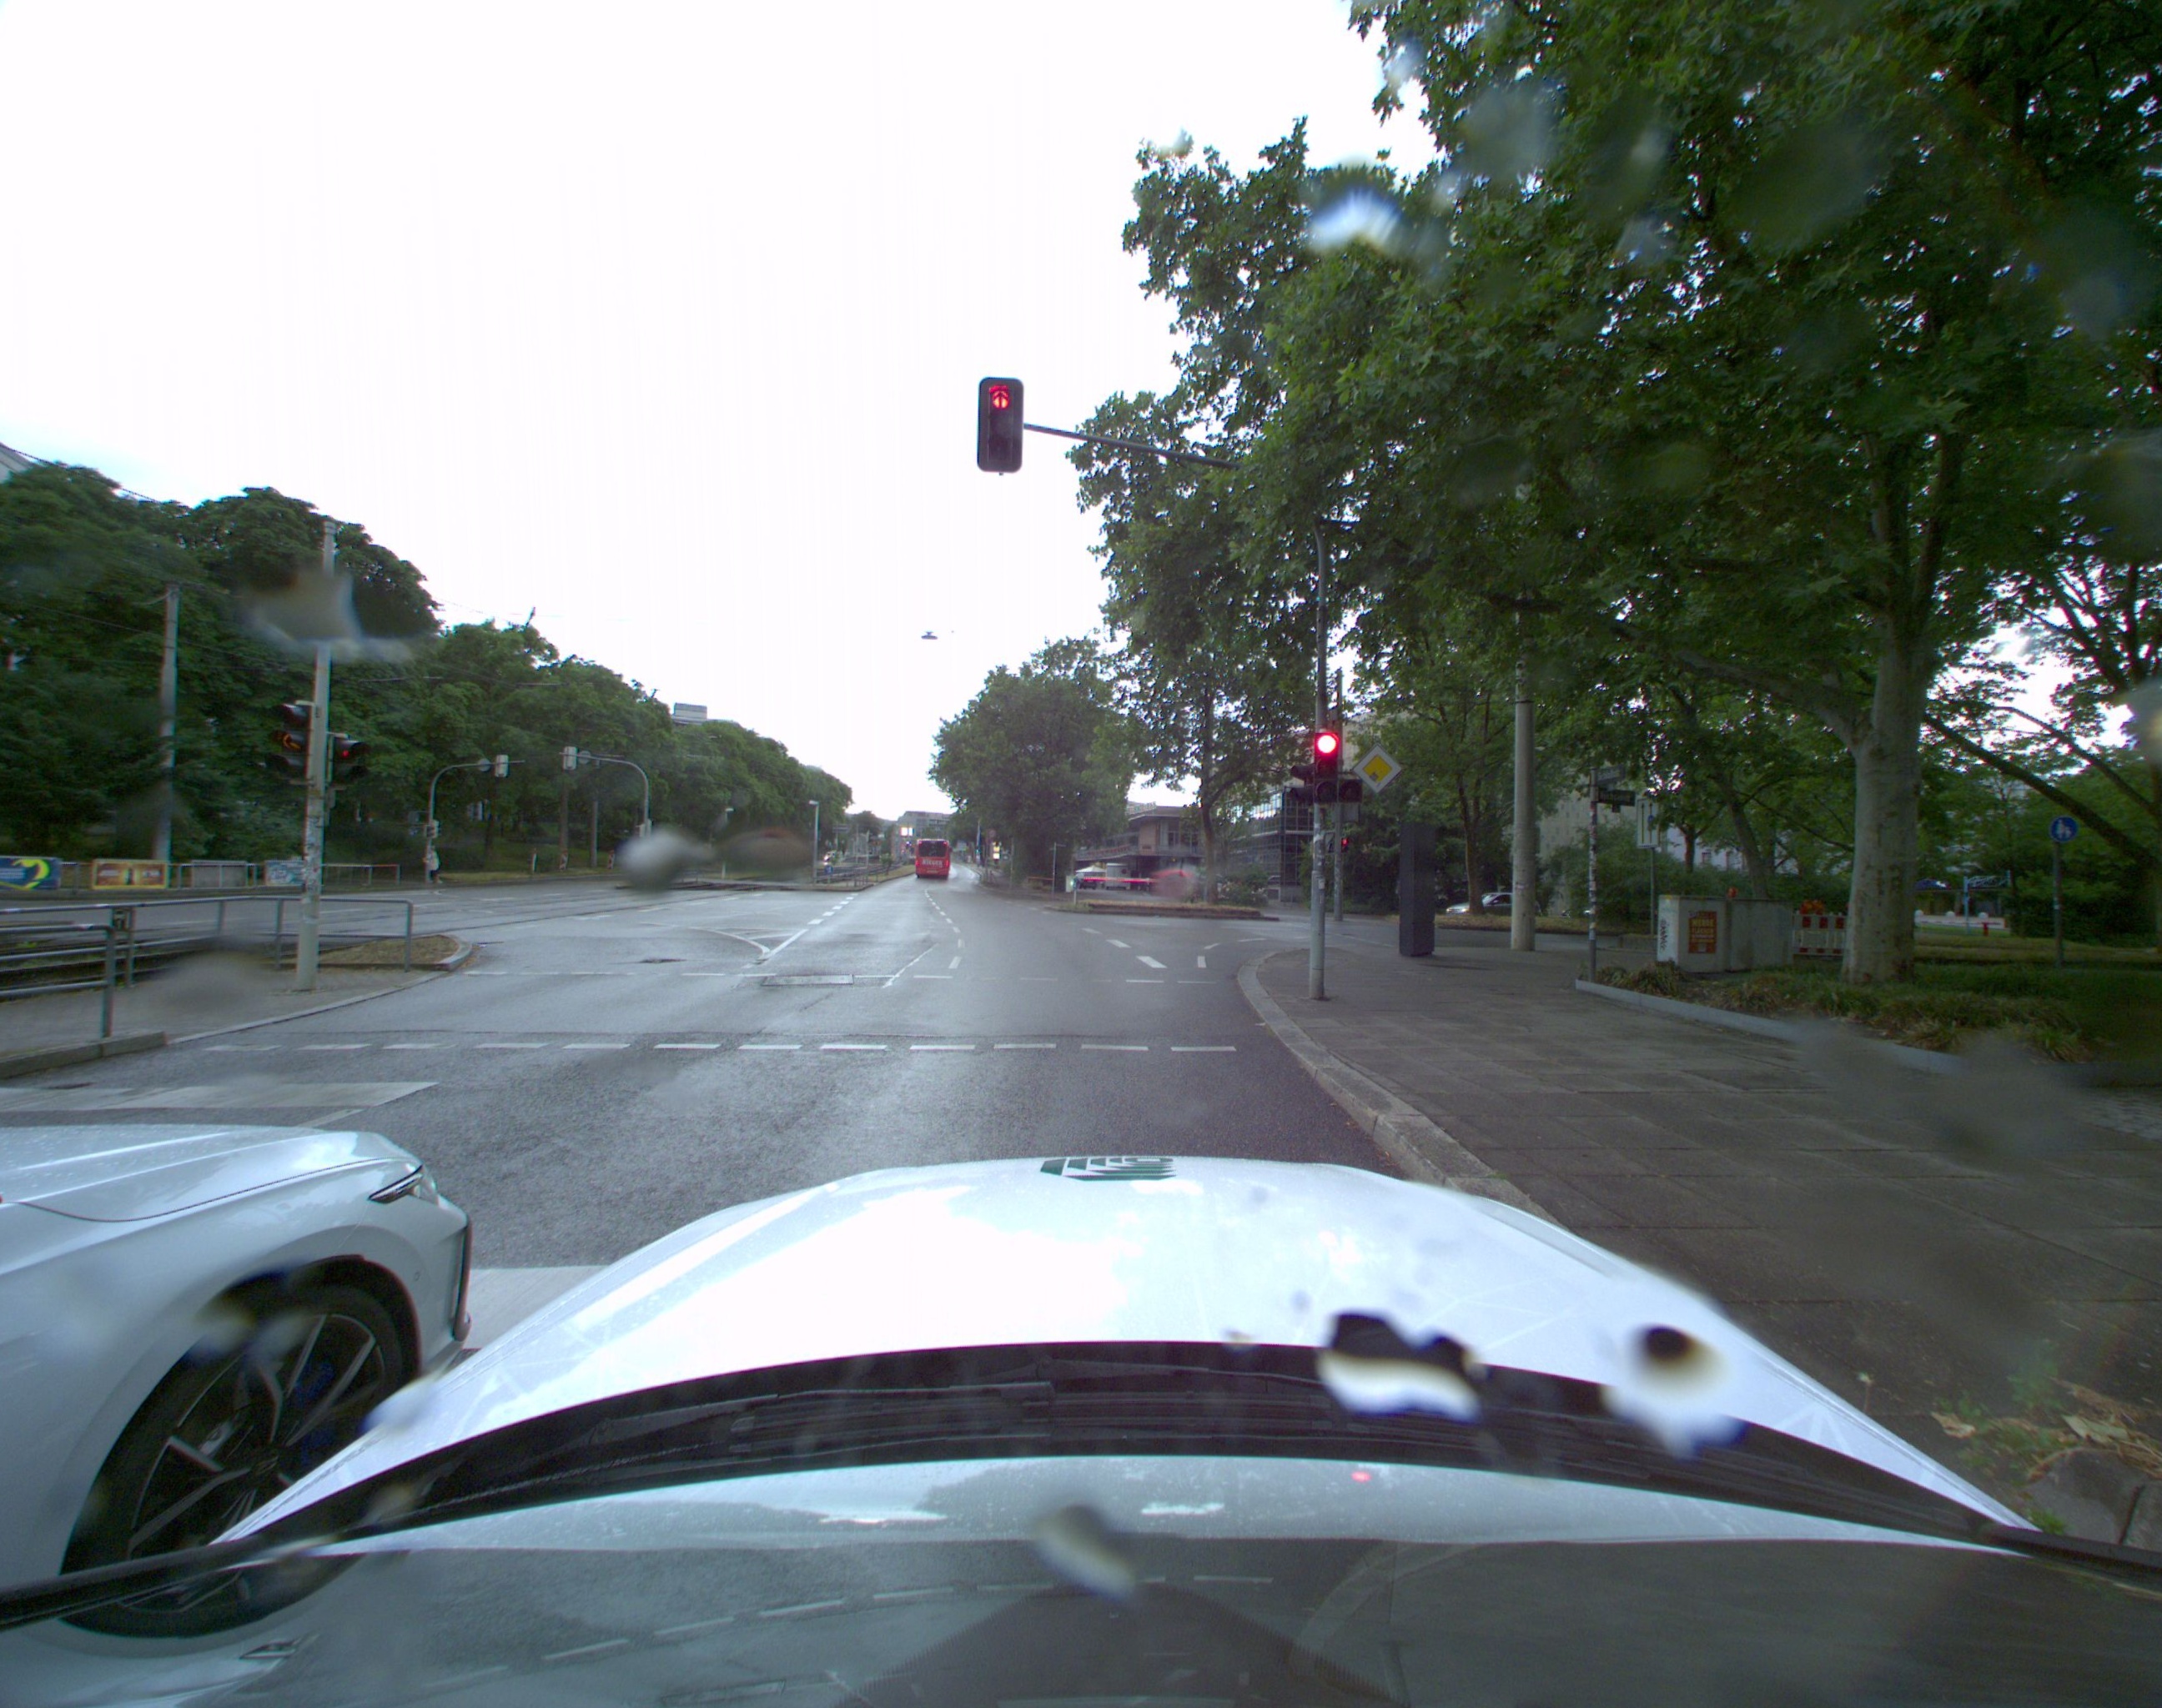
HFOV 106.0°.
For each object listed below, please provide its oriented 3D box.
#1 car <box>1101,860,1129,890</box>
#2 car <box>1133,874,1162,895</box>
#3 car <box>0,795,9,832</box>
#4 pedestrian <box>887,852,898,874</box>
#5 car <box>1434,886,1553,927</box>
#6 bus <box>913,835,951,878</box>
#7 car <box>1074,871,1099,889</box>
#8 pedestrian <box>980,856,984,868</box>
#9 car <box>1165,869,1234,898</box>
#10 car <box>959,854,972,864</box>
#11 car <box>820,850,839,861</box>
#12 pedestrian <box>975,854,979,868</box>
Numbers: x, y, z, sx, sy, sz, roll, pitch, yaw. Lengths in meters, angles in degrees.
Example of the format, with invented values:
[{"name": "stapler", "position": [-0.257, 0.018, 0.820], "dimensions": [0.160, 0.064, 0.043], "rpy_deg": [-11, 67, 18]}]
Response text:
[{"name": "car", "position": [3.767, 2.367, 90.607], "dimensions": [2.539, 3.134, 5.024], "rpy_deg": [3, -2, -3]}, {"name": "car", "position": [6.892, 3.159, 84.406], "dimensions": [1.994, 2.014, 3.985], "rpy_deg": [3, -2, -10]}, {"name": "car", "position": [-52.935, -2.017, 37.894], "dimensions": [2.005, 1.794, 4.172], "rpy_deg": [4, -2, -28]}, {"name": "pedestrian", "position": [-14.508, 0.665, 62.698], "dimensions": [0.738, 1.640, 0.867], "rpy_deg": [3, -2, -12]}, {"name": "car", "position": [17.288, 2.174, 34.258], "dimensions": [3.980, 1.442, 1.997], "rpy_deg": [3, -2, -5]}, {"name": "bus", "position": [-12.201, 0.249, 66.725], "dimensions": [2.655, 3.111, 9.151], "rpy_deg": [3, -1, -10]}, {"name": "car", "position": [0.521, 2.776, 88.054], "dimensions": [1.993, 1.860, 3.987], "rpy_deg": [3, -2, -9]}, {"name": "pedestrian", "position": [-12.959, 1.020, 106.772], "dimensions": [0.370, 1.525, 0.344], "rpy_deg": [2, -1, 1]}, {"name": "car", "position": [8.988, 2.225, 61.954], "dimensions": [4.762, 1.943, 1.986], "rpy_deg": [3, -2, -20]}, {"name": "car", "position": [-21.125, 0.920, 149.257], "dimensions": [1.995, 1.684, 3.984], "rpy_deg": [3, -2, -12]}, {"name": "car", "position": [-36.520, 0.221, 118.498], "dimensions": [1.992, 1.519, 3.989], "rpy_deg": [2, 0, -8]}, {"name": "pedestrian", "position": [-13.570, 0.905, 106.508], "dimensions": [0.370, 1.708, 0.644], "rpy_deg": [2, -1, 2]}]
